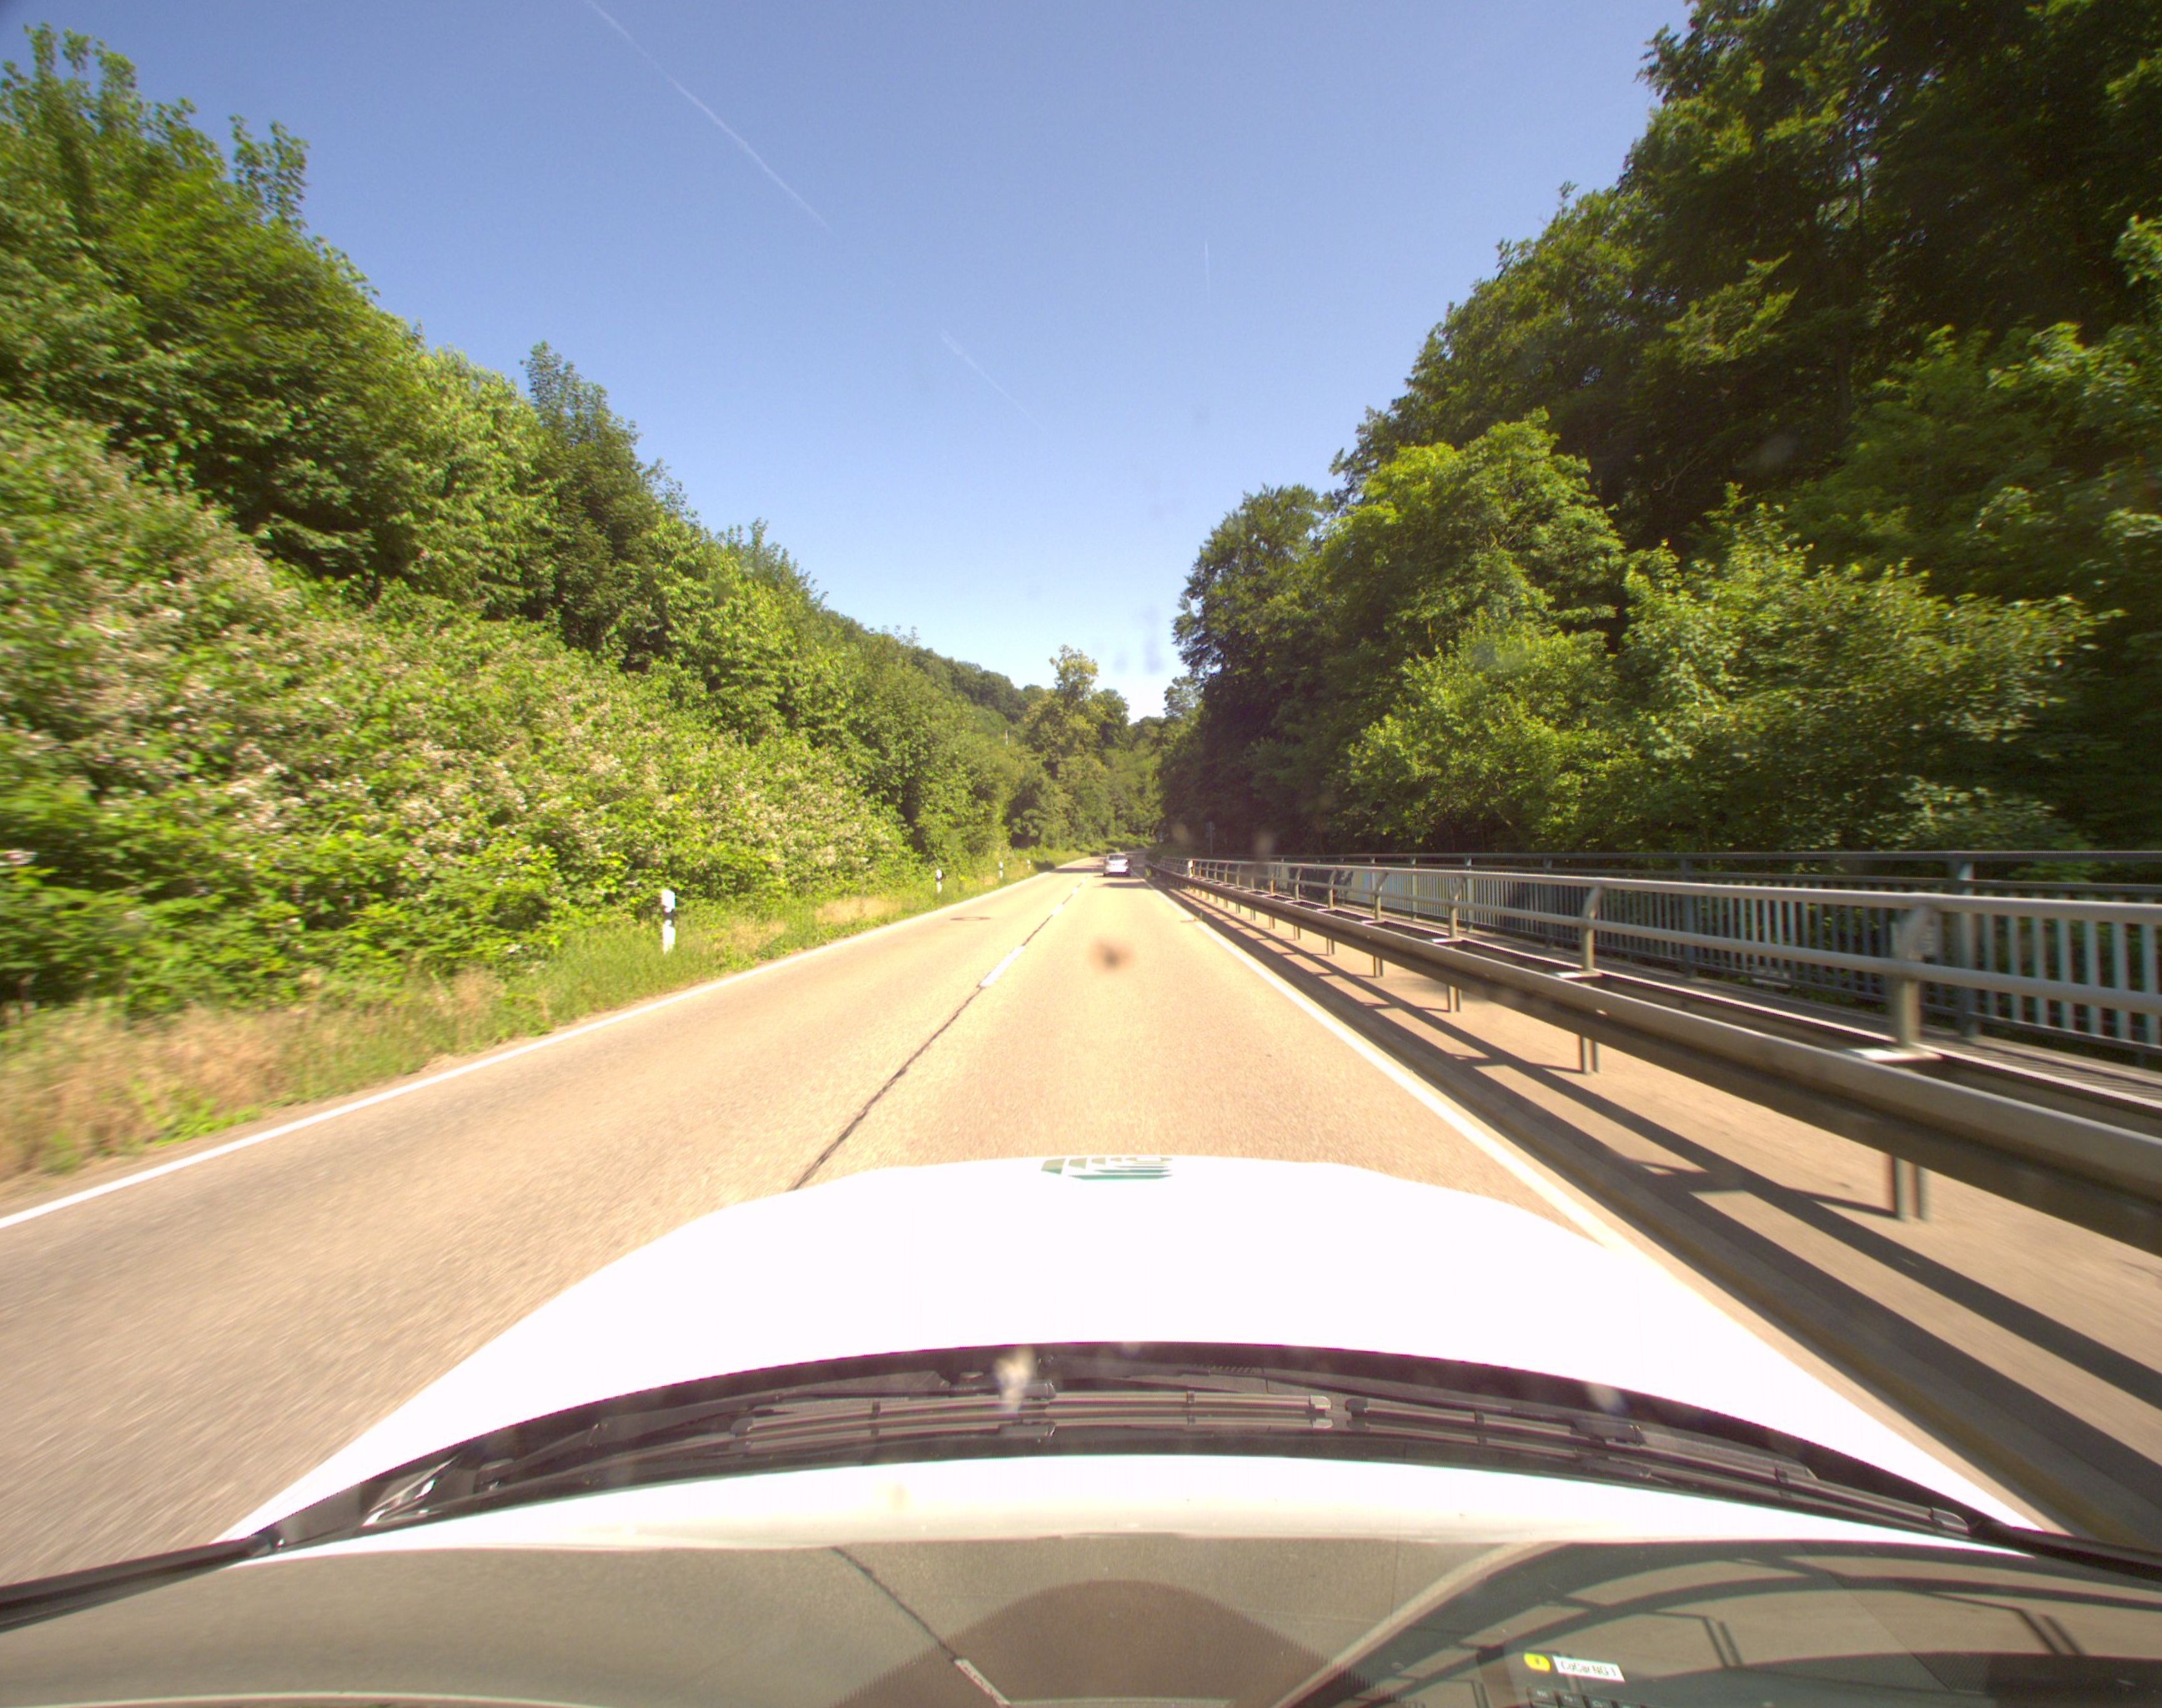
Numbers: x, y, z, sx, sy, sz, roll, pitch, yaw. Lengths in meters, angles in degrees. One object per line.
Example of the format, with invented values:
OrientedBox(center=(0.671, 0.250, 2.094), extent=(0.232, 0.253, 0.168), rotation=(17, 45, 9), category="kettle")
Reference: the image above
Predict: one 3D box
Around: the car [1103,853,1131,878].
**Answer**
OrientedBox(center=(2.368, 0.737, 53.672), extent=(1.744, 1.520, 4.162), rotation=(0, 1, 2), category="car")
